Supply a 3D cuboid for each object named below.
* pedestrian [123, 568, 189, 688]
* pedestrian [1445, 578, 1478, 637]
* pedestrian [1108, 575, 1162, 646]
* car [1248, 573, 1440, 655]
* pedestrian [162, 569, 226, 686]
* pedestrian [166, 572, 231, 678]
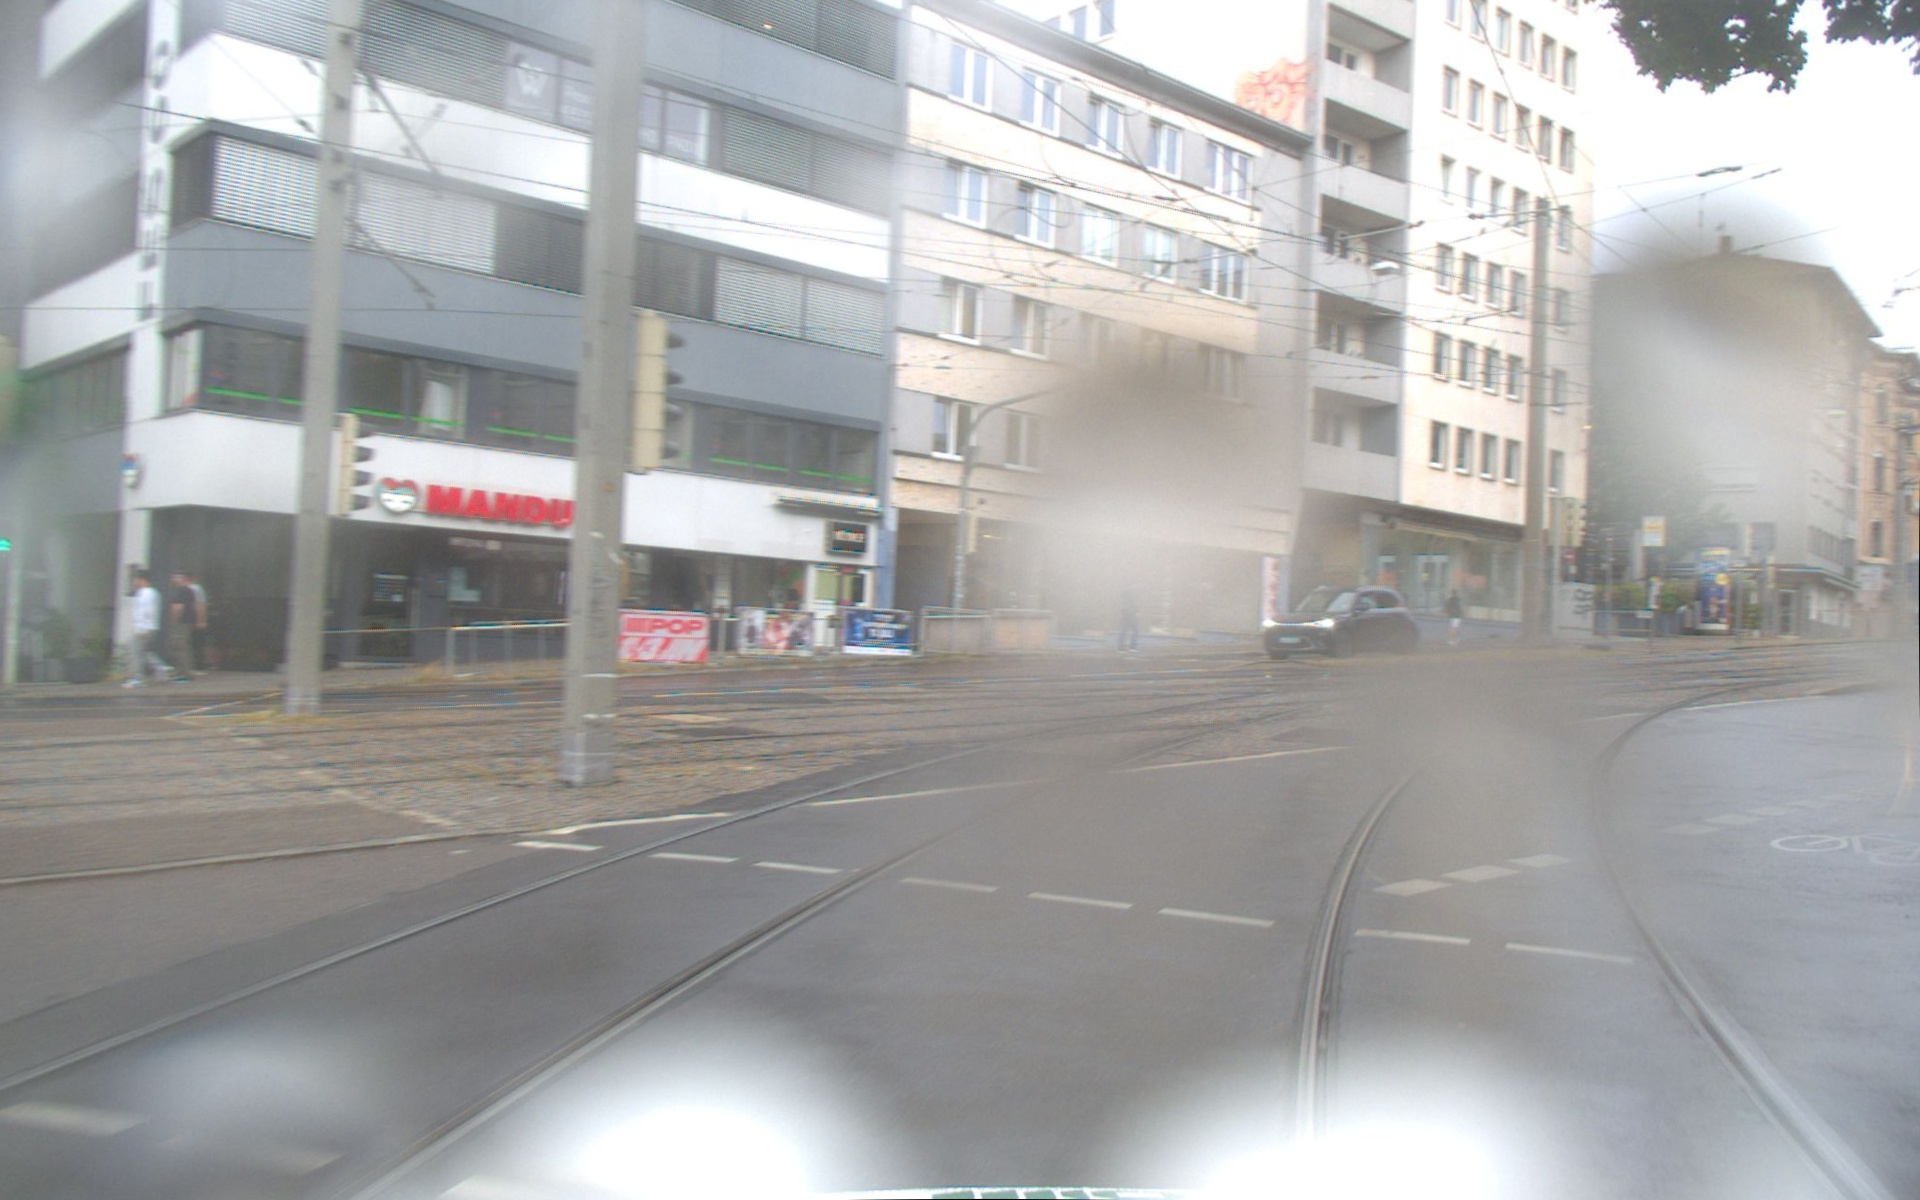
[{"bbox_3d":[-13.227,0.457,27.229,0.702,1.947,0.698,1,-1,-1],"label":"pedestrian"},{"bbox_3d":[15.178,0.217,50.062,0.903,1.768,0.589,0,0,-44],"label":"pedestrian"},{"bbox_3d":[4.239,0.249,40.097,0.989,1.710,0.878,0,0,-39],"label":"pedestrian"},{"bbox_3d":[8.557,0.283,36.675,4.489,1.702,1.969,0,0,-42],"label":"car"},{"bbox_3d":[-12.943,0.462,27.968,0.702,1.947,0.698,1,-1,-1],"label":"pedestrian"},{"bbox_3d":[-13.110,0.424,28.478,0.702,1.793,0.698,1,-1,6],"label":"pedestrian"}]
